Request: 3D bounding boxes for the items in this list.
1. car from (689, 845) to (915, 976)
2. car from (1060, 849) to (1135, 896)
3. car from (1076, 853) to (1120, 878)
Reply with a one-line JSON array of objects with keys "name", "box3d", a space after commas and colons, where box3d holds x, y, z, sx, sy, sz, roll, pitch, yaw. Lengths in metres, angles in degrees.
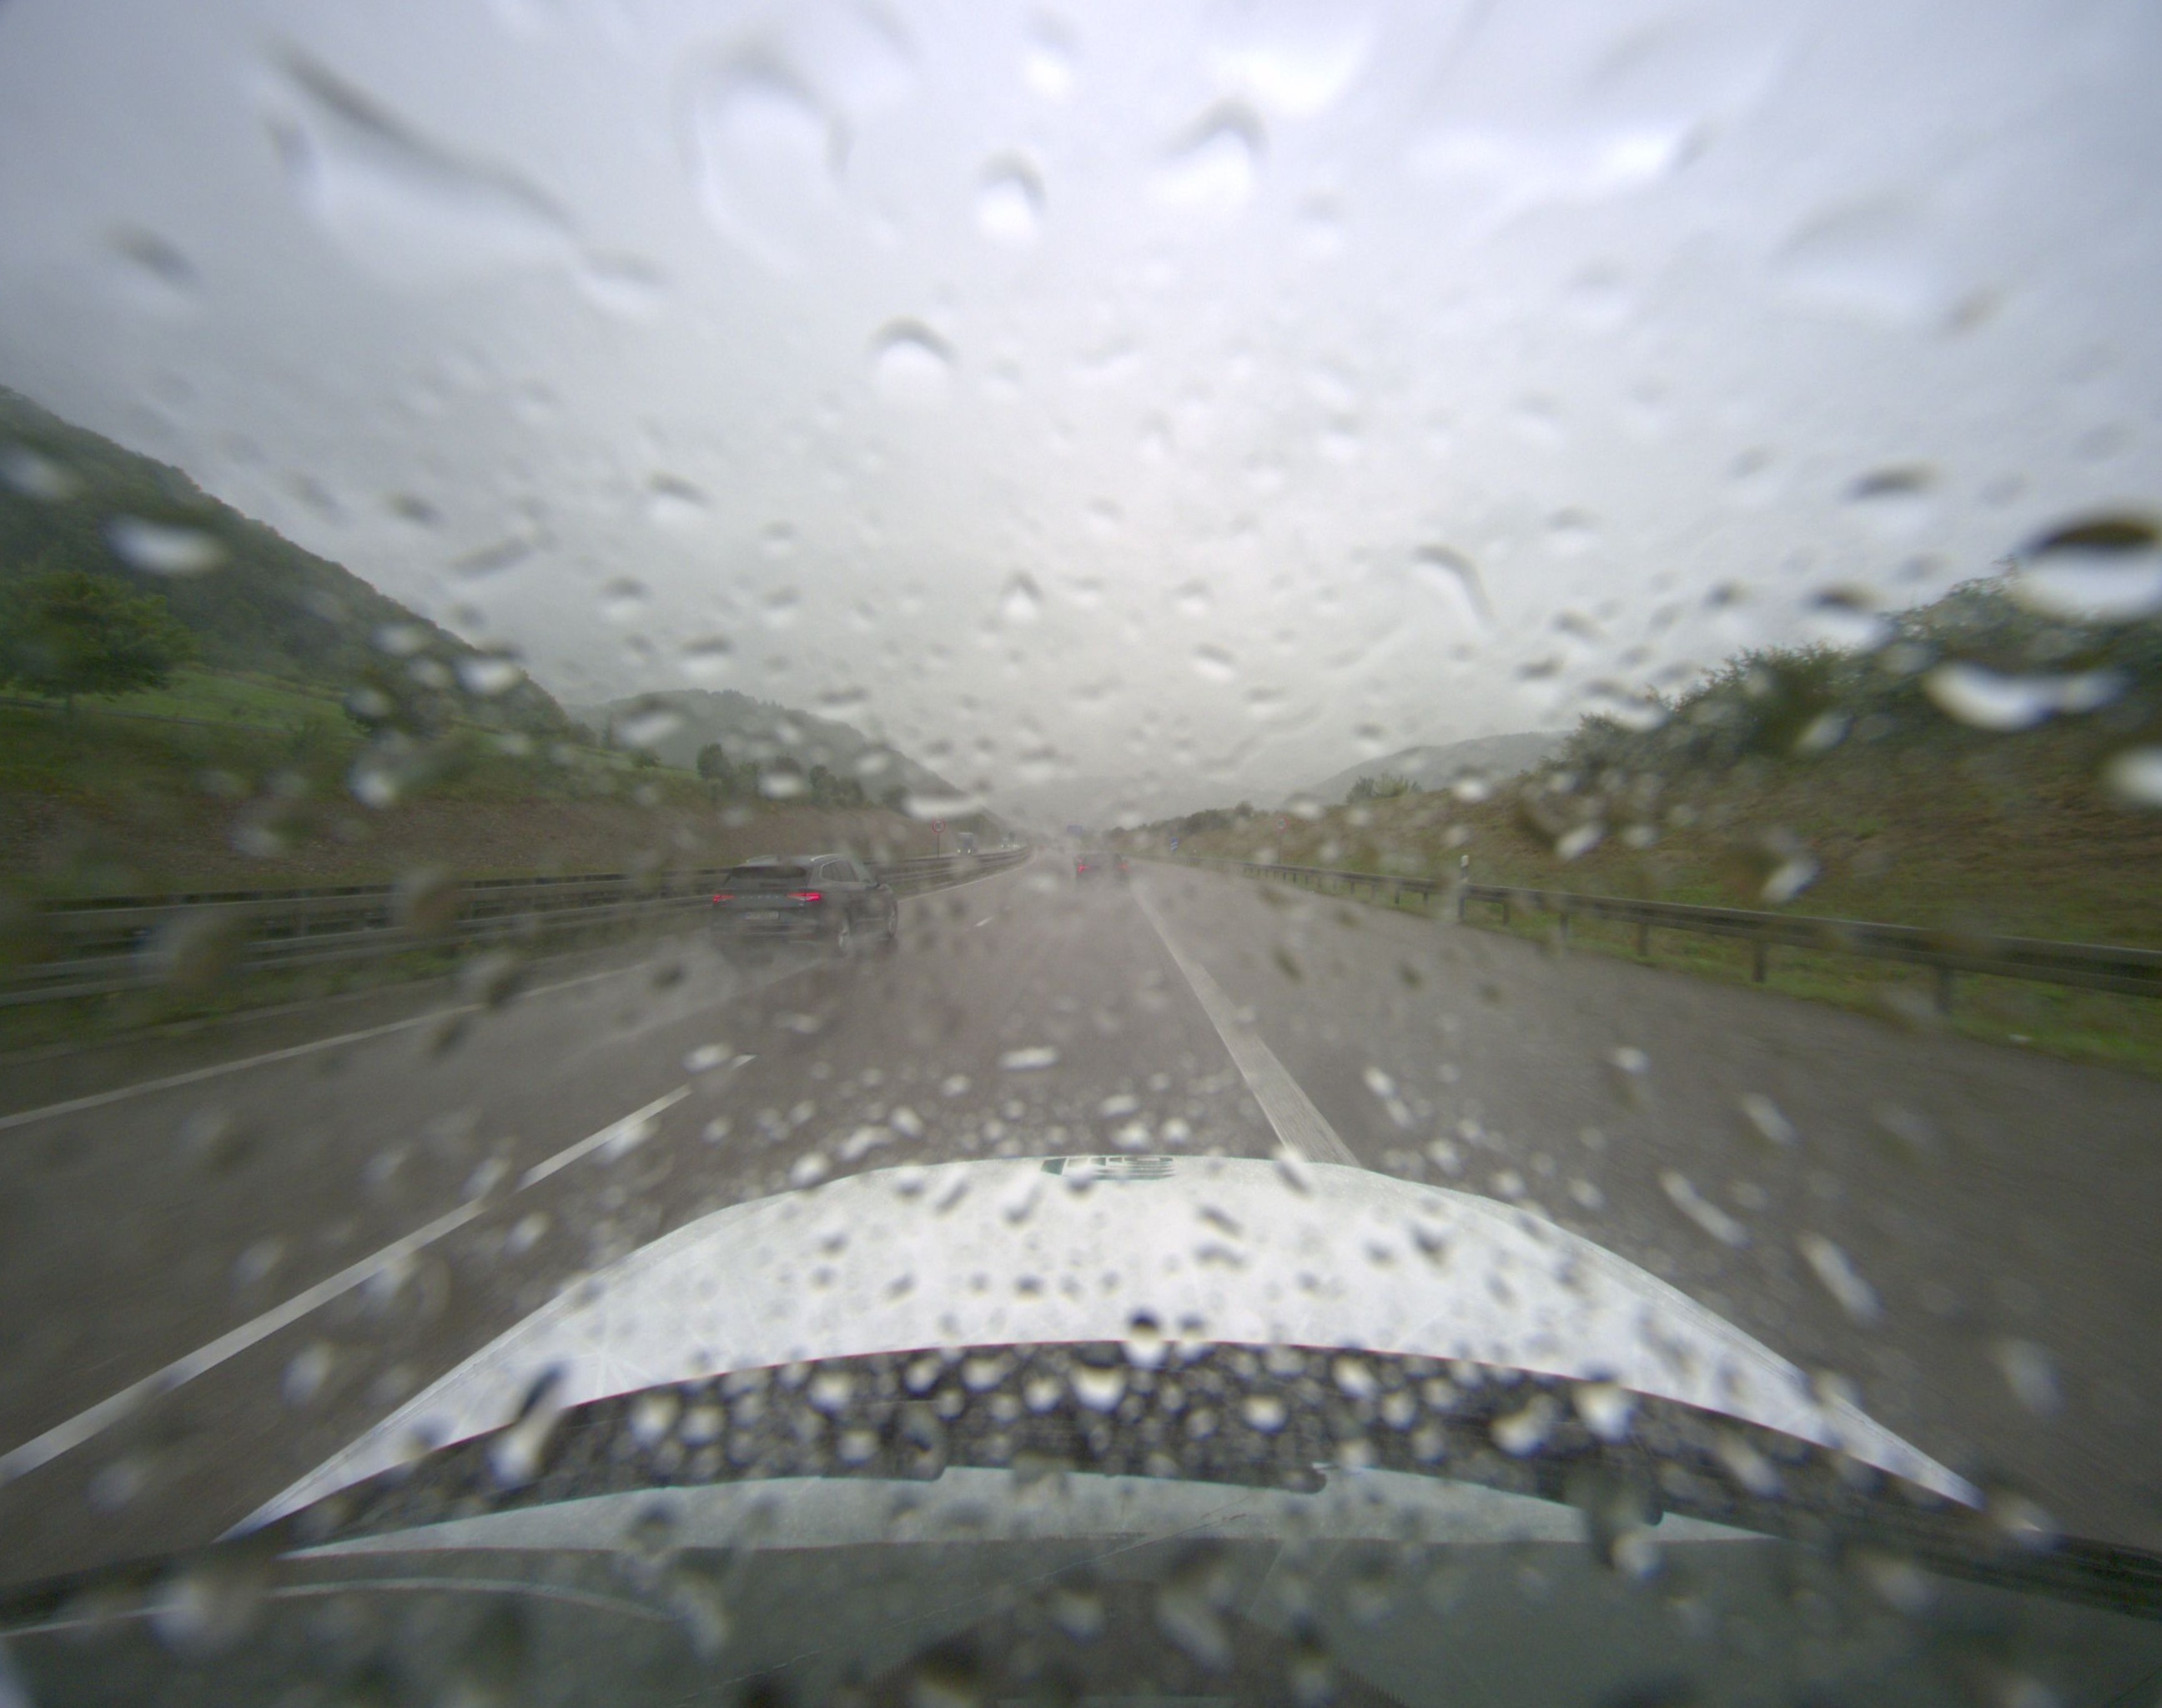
[{"name": "car", "box3d": [-4.320, 0.751, 13.614, 1.987, 1.683, 4.910, -2, 1, 0]}, {"name": "car", "box3d": [0.690, 0.647, 29.323, 2.395, 1.515, 4.789, 1, -1, 4]}, {"name": "car", "box3d": [1.043, 0.750, 53.087, 2.658, 1.515, 5.715, 1, -1, -1]}]
